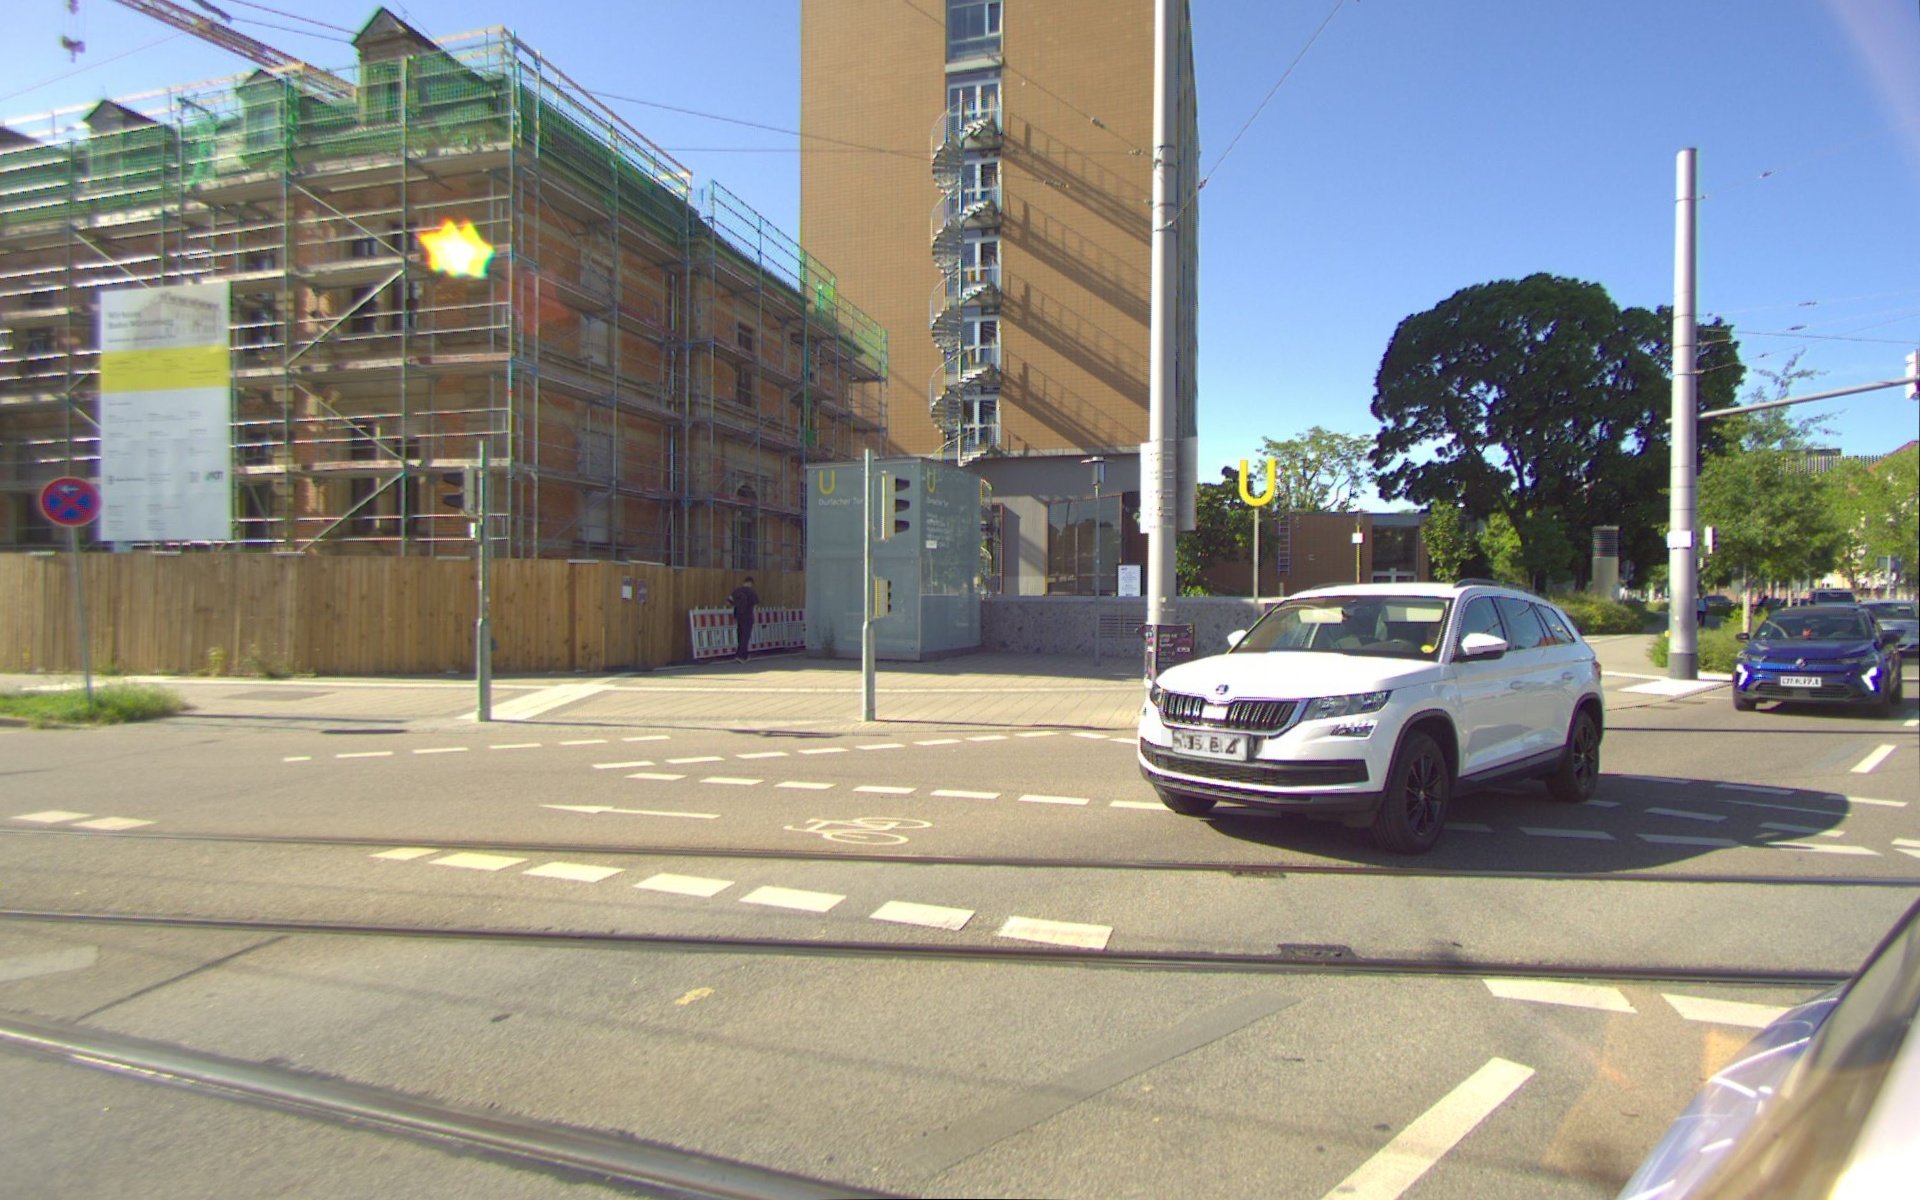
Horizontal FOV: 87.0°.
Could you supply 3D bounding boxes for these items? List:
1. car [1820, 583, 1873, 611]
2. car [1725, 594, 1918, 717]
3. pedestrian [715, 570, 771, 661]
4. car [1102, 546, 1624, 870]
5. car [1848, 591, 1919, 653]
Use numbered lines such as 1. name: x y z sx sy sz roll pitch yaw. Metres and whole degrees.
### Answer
1. car: 49.005 -0.172 56.016 1.912 1.477 4.603 -2 -1 38
2. car: 13.519 0.767 15.802 3.946 1.651 1.882 -1 -1 -44
3. pedestrian: -4.433 0.319 20.684 0.767 1.810 0.826 -2 -1 20
4. car: 3.138 0.618 7.391 4.322 1.666 1.865 2 -3 -43
5. car: 26.931 0.592 28.986 3.946 1.651 1.882 -1 -1 -44
